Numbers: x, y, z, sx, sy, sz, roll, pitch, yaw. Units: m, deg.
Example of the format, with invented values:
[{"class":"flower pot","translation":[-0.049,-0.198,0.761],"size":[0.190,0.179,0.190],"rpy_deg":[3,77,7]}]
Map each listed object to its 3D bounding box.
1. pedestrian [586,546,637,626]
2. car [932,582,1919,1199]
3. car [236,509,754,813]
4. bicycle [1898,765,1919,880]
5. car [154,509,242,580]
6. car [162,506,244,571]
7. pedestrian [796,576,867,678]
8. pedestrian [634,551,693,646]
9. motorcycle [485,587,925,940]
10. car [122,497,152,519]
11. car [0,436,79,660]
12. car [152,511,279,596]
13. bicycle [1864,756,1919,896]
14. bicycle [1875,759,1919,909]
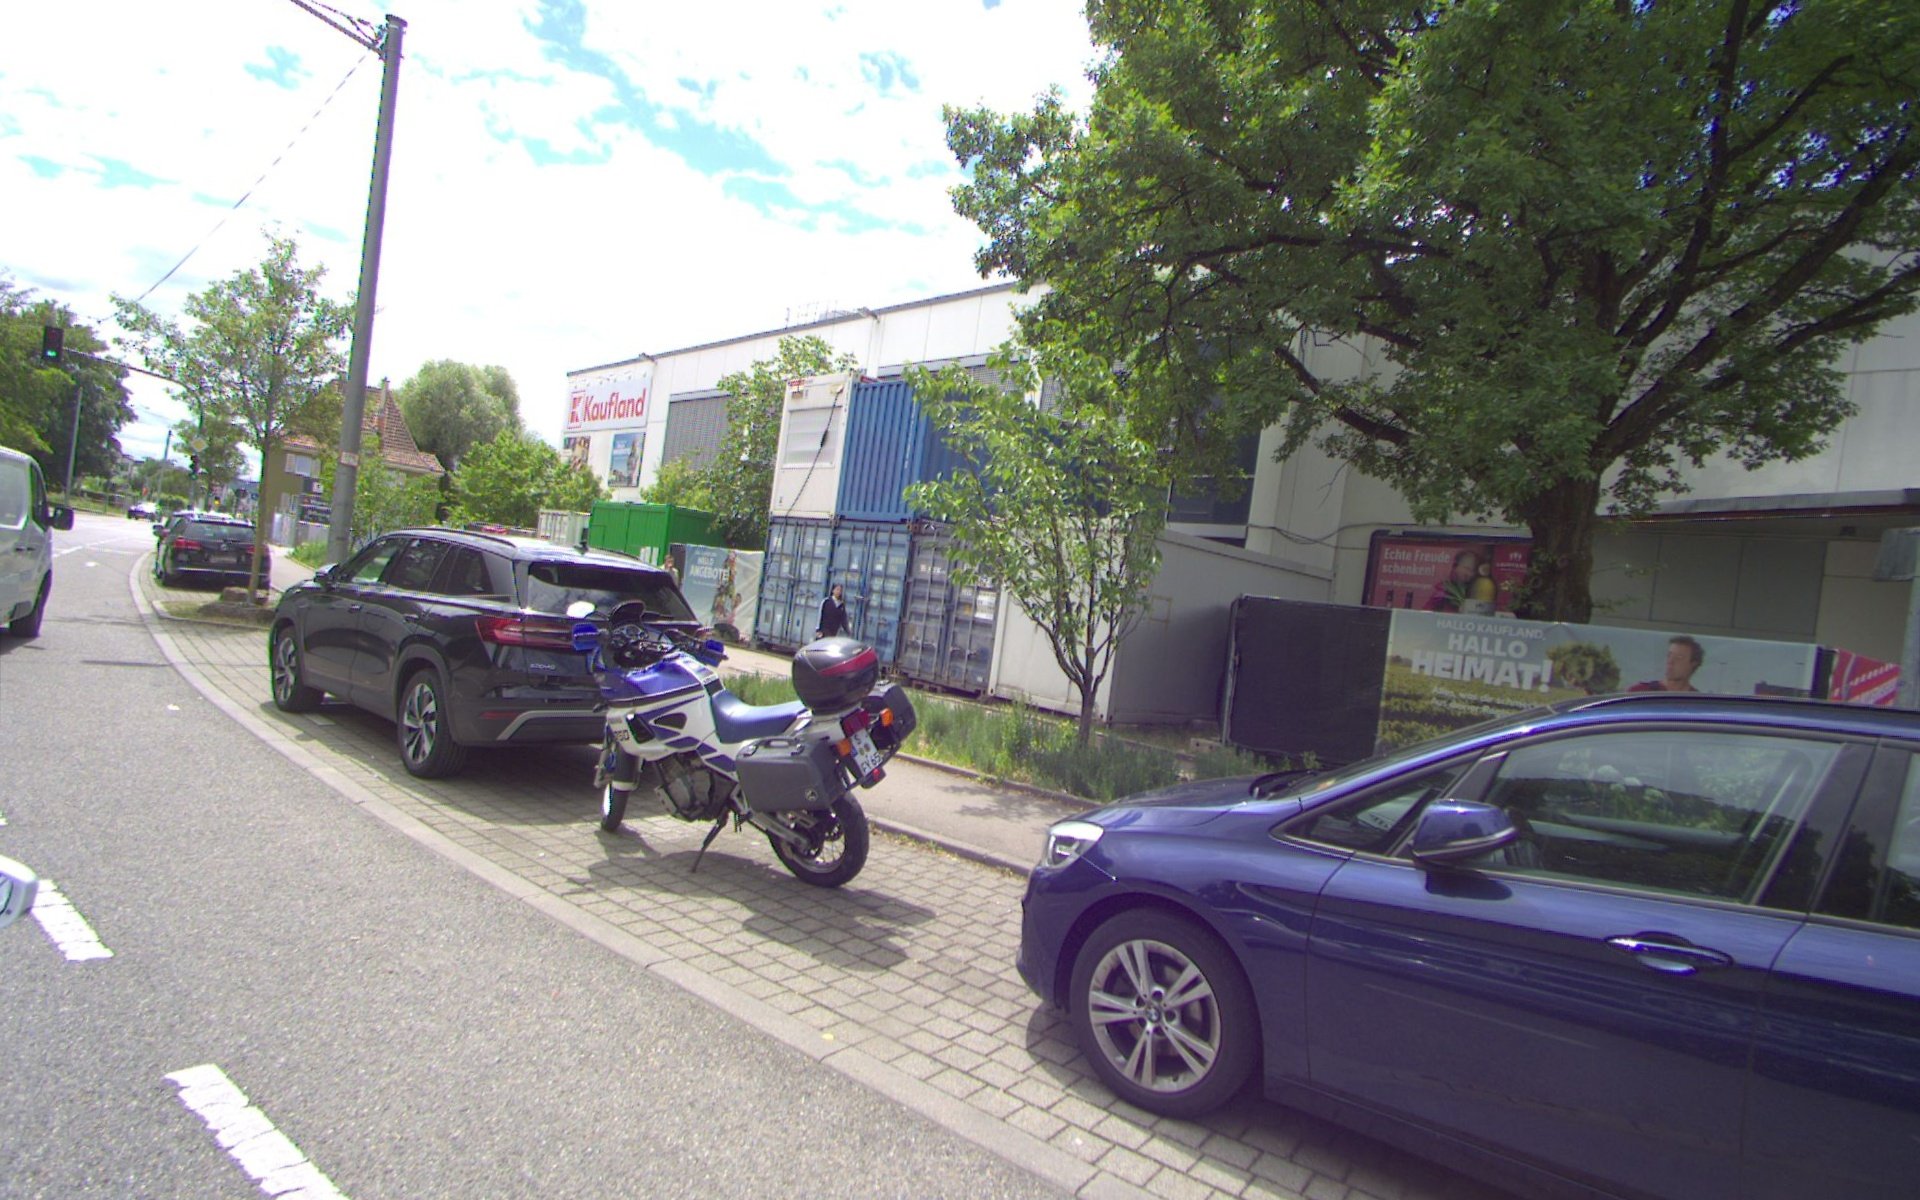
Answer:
[{"class":"pedestrian","translation":[-7.982,-0.323,23.024],"size":[0.649,1.718,0.834],"rpy_deg":[7,0,-42]},{"class":"car","translation":[2.264,0.987,3.164],"size":[4.363,1.598,1.915],"rpy_deg":[7,1,38]},{"class":"car","translation":[-3.970,0.282,8.107],"size":[4.777,1.642,1.876],"rpy_deg":[7,1,40]},{"class":"bicycle","translation":[9.845,2.210,9.183],"size":[1.776,1.054,0.518],"rpy_deg":[7,1,43]},{"class":"car","translation":[-19.300,-1.434,25.425],"size":[1.561,1.512,3.956],"rpy_deg":[6,0,-39]},{"class":"car","translation":[-22.560,-1.859,29.927],"size":[1.728,1.637,4.339],"rpy_deg":[4,1,-39]},{"class":"pedestrian","translation":[-2.209,0.464,17.297],"size":[0.740,1.637,0.758],"rpy_deg":[7,0,-42]},{"class":"pedestrian","translation":[-5.728,-0.032,19.419],"size":[0.648,1.717,0.716],"rpy_deg":[7,0,-42]},{"class":"motorcycle","translation":[-1.431,0.714,5.380],"size":[2.227,1.323,1.069],"rpy_deg":[7,2,38]},{"class":"car","translation":[-71.898,-8.010,87.905],"size":[1.824,1.637,4.107],"rpy_deg":[6,1,-39]},{"class":"car","translation":[-9.460,-0.572,8.712],"size":[1.928,1.983,4.789],"rpy_deg":[10,-2,-34]},{"class":"car","translation":[-16.098,-1.050,21.643],"size":[1.756,1.496,4.878],"rpy_deg":[4,2,-41]},{"class":"bicycle","translation":[8.946,2.075,8.525],"size":[0.495,1.169,1.761],"rpy_deg":[7,-1,-26]},{"class":"bicycle","translation":[8.344,1.981,7.748],"size":[0.446,1.169,1.777],"rpy_deg":[7,-1,-30]}]
